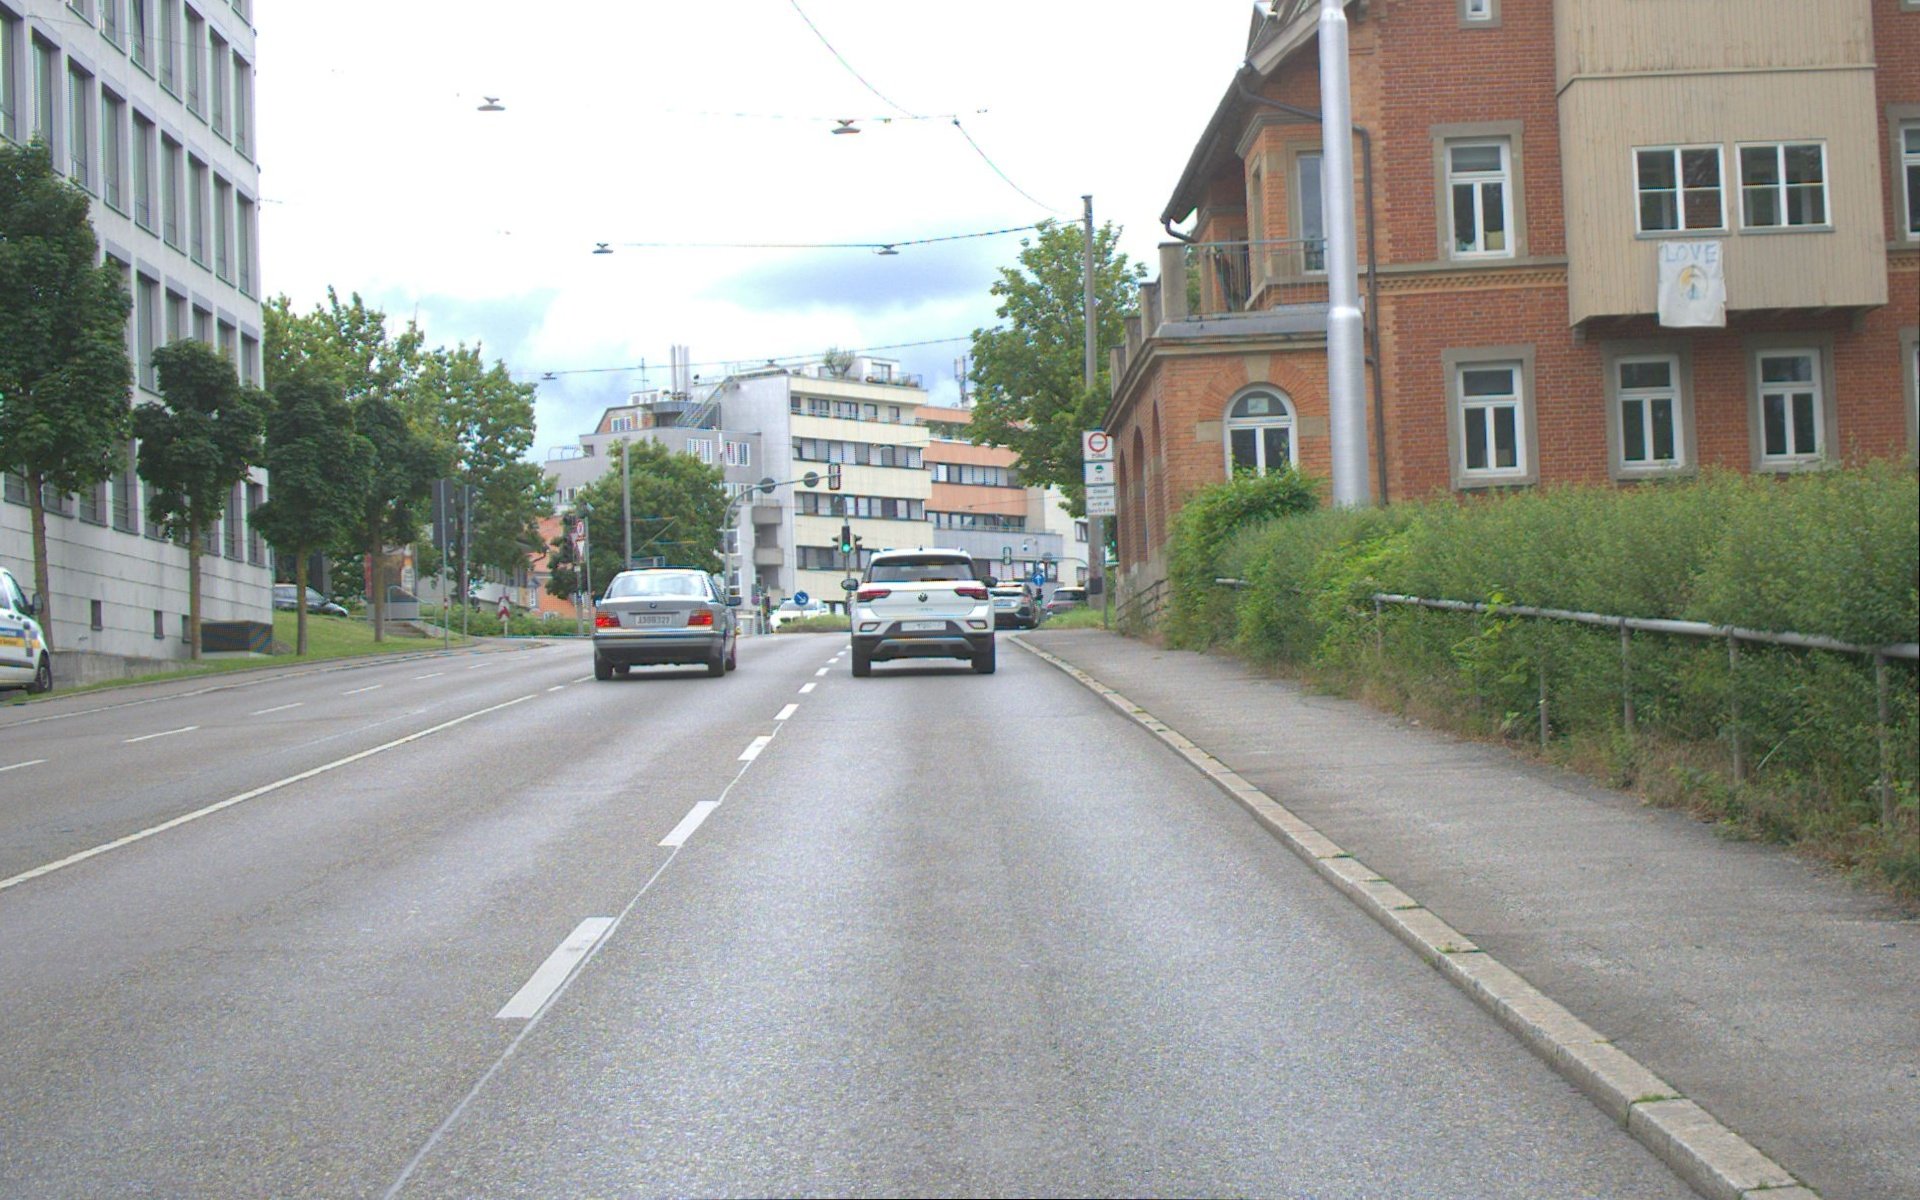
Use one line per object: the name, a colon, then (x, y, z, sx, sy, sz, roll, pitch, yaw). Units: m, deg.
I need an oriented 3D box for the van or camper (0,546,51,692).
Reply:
van or camper: (-14.021, 0.284, 47.055, 2.060, 1.961, 4.873, -2, 1, -3)

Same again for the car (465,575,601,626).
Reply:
car: (-13.402, 0.010, 108.030, 1.780, 1.539, 3.990, -2, 0, 44)

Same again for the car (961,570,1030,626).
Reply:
car: (1.070, -0.076, 101.439, 1.770, 1.565, 4.284, -2, 0, 4)

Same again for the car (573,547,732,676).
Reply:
car: (-3.886, 0.113, 43.931, 1.699, 1.511, 3.736, -2, 1, -1)

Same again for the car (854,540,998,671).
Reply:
car: (-0.436, 0.035, 43.129, 1.699, 1.543, 3.736, 1, 1, -1)
